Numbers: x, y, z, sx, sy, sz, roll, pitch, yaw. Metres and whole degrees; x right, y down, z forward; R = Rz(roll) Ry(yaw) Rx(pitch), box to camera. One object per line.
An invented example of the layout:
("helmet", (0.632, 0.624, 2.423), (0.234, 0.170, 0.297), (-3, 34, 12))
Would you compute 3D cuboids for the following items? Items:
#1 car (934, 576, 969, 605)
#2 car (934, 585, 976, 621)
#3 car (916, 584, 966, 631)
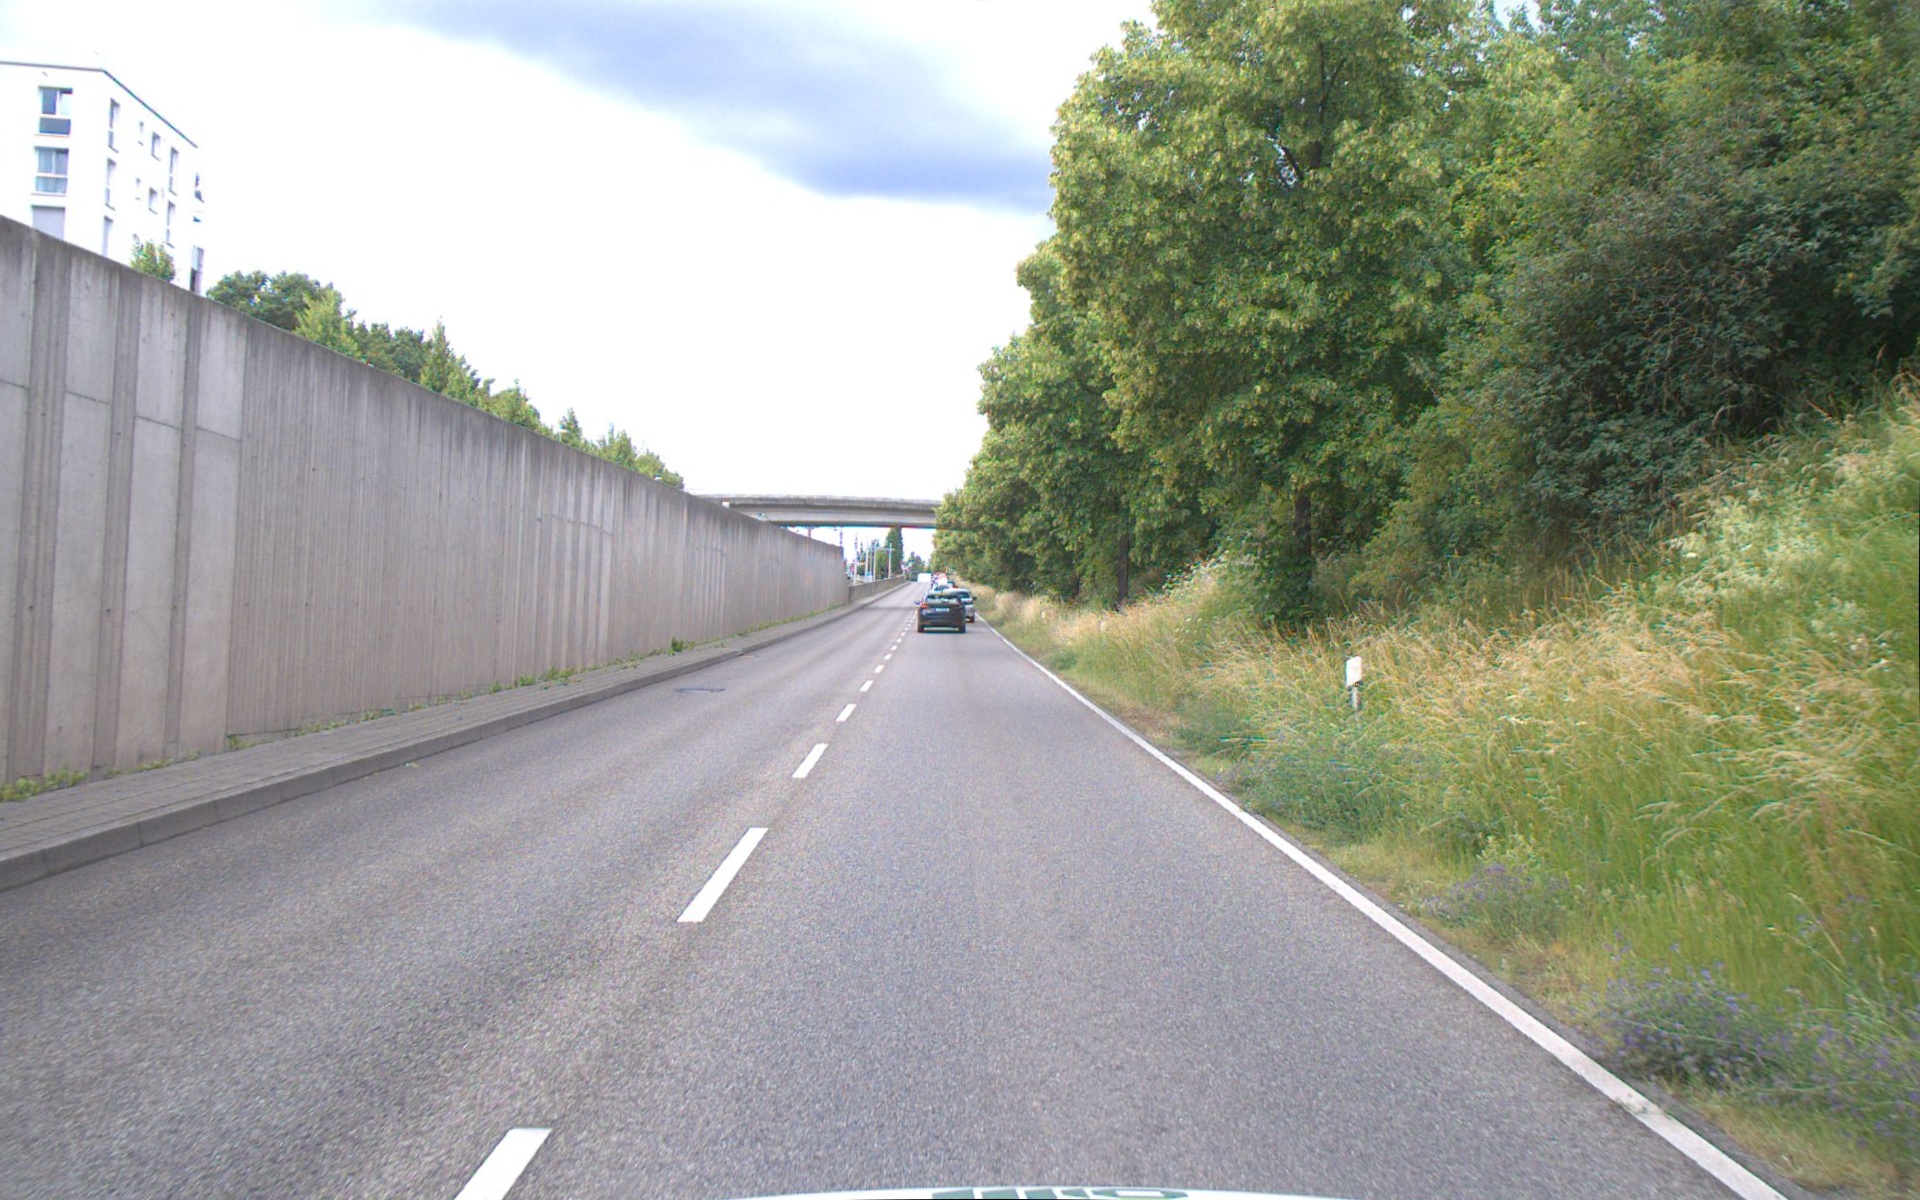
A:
("car", (-0.519, -0.568, 97.258), (1.829, 1.516, 4.255), (4, 0, -2))
("car", (-0.243, 0.115, 74.771), (1.719, 1.550, 4.034), (-1, 0, -3))
("car", (-0.702, 0.254, 60.159), (1.719, 1.550, 4.036), (-1, 2, -1))
